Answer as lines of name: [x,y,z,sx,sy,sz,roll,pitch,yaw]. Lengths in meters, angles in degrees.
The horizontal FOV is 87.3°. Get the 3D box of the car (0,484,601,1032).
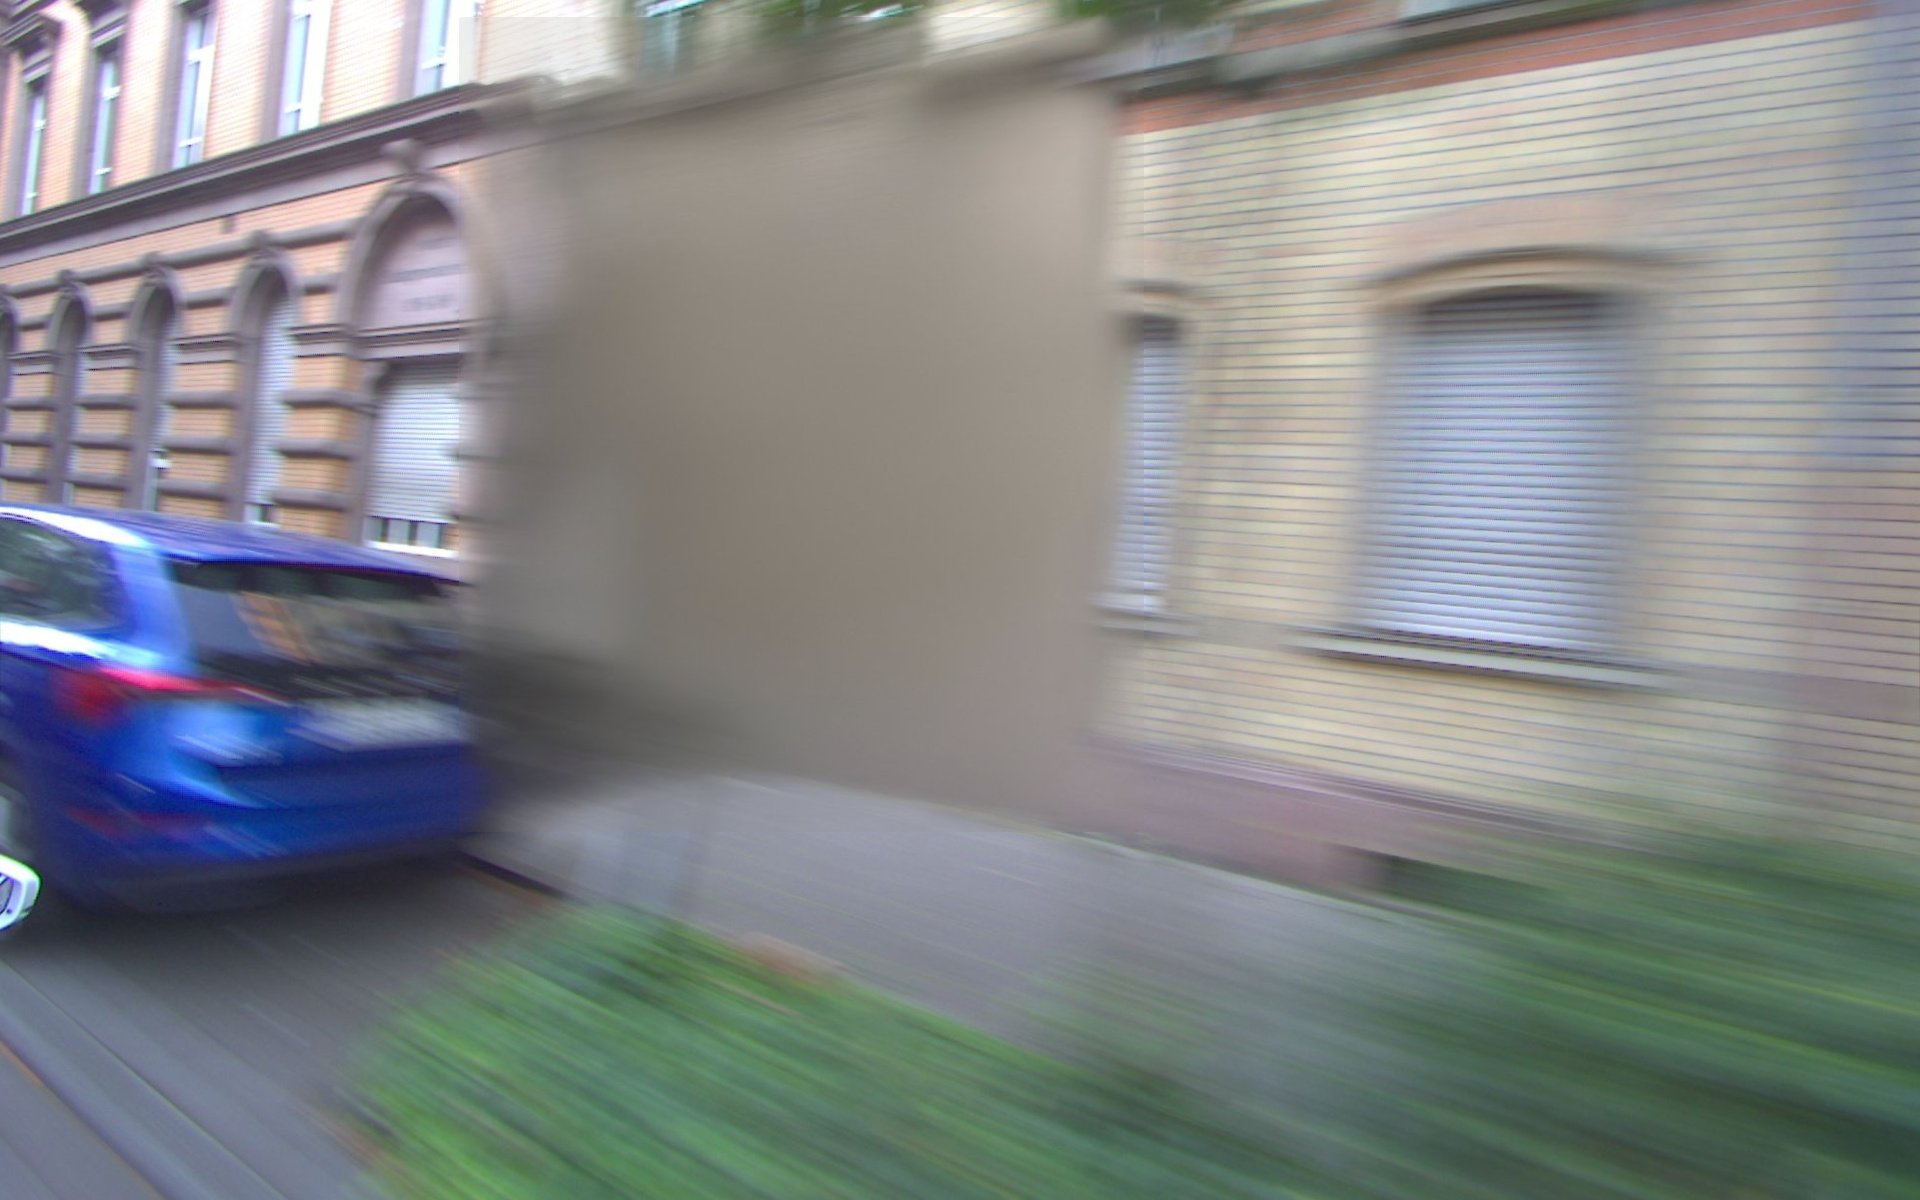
car: [-3.767,0.309,4.519,4.173,1.485,1.630,7,0,30]

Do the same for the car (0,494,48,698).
car: [-9.116,-0.276,7.875,4.122,1.495,1.714,7,-1,31]
